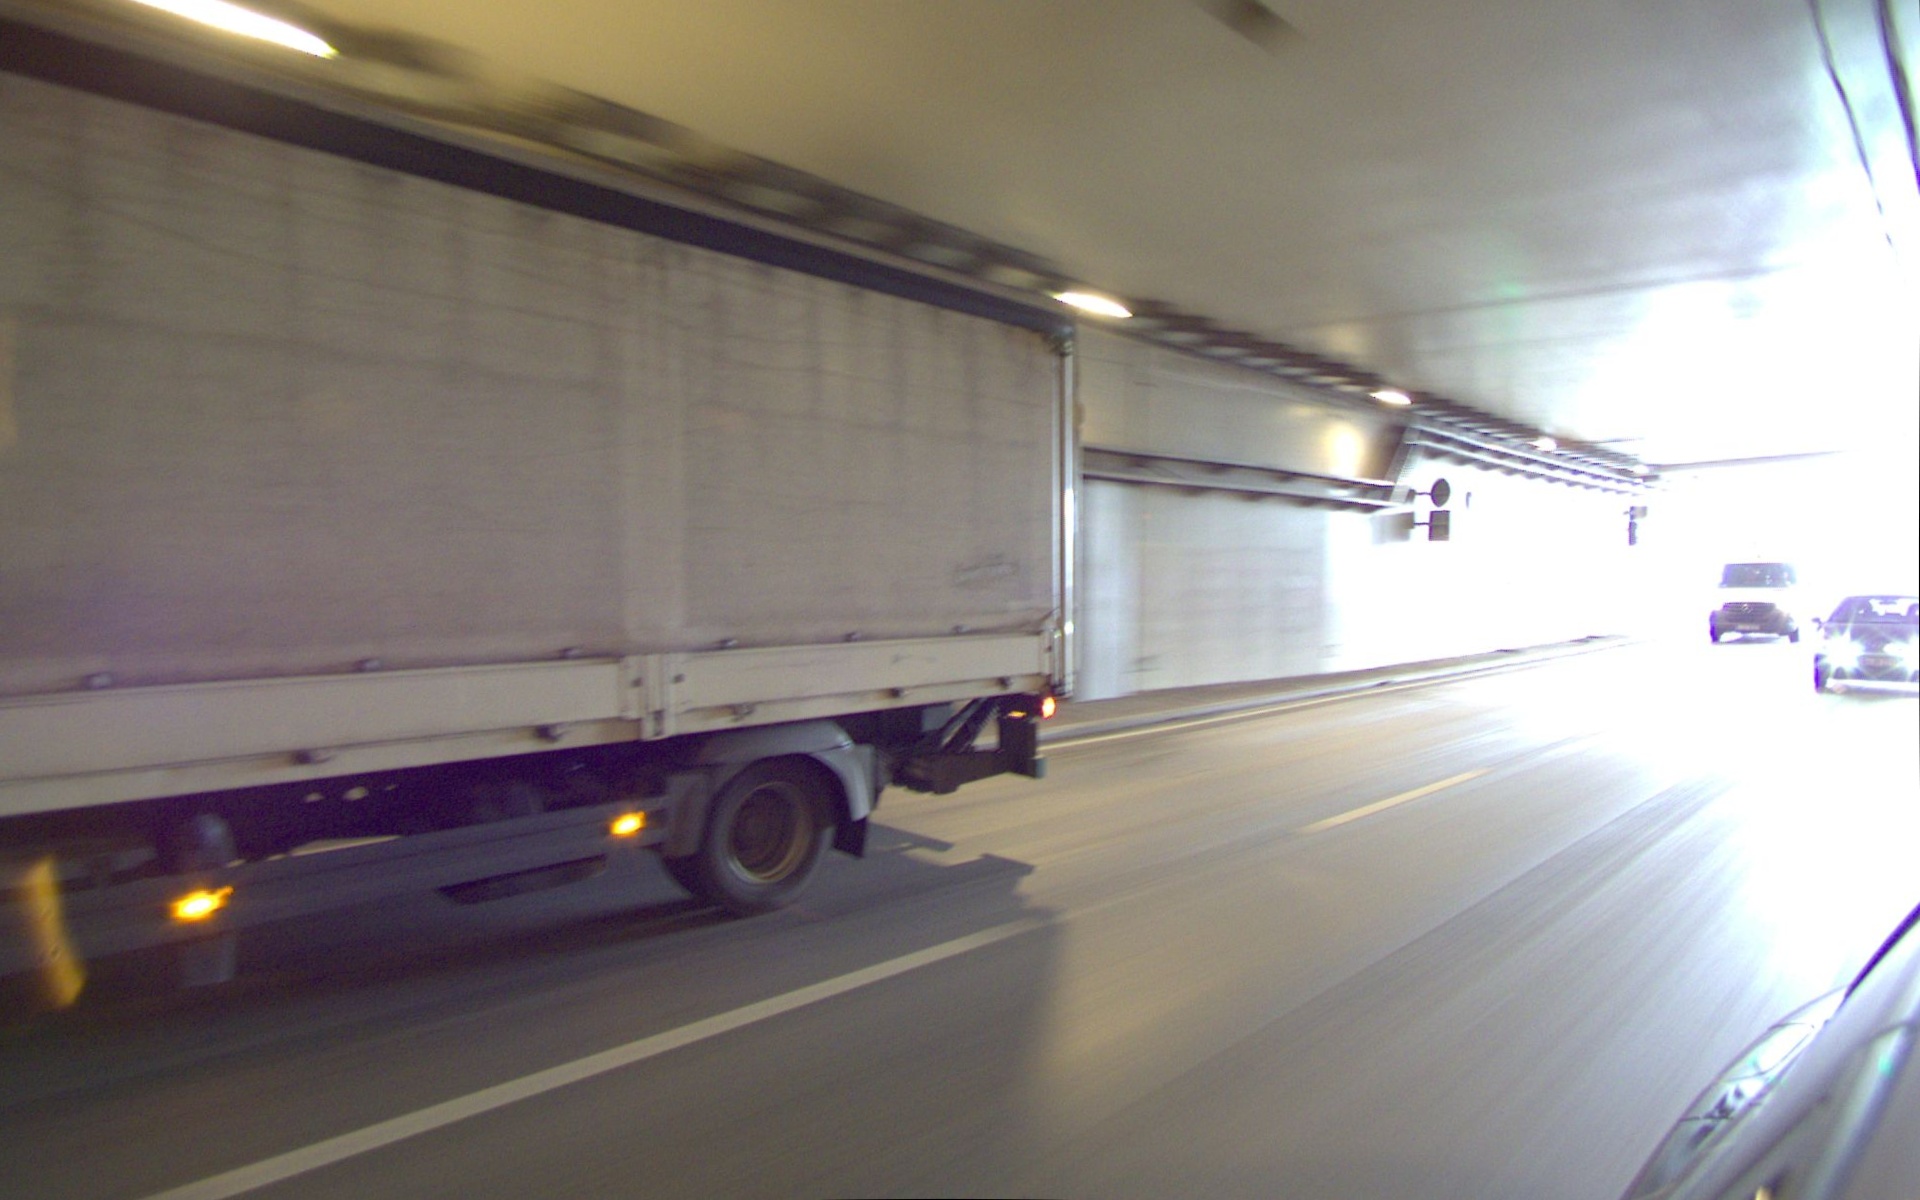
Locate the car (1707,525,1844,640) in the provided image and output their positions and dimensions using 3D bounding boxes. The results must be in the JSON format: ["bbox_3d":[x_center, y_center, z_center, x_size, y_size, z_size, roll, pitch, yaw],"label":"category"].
[{"bbox_3d":[23.049,-0.528,28.465,6.747,2.882,2.104,-1,2,-44],"label":"car"}]

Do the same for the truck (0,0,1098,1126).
[{"bbox_3d":[-2.595,-0.217,4.478,7.127,3.221,2.555,0,0,-45],"label":"truck"}]

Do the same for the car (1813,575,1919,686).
[{"bbox_3d":[14.994,0.414,16.121,3.652,1.580,1.637,-2,1,-41],"label":"car"}]
